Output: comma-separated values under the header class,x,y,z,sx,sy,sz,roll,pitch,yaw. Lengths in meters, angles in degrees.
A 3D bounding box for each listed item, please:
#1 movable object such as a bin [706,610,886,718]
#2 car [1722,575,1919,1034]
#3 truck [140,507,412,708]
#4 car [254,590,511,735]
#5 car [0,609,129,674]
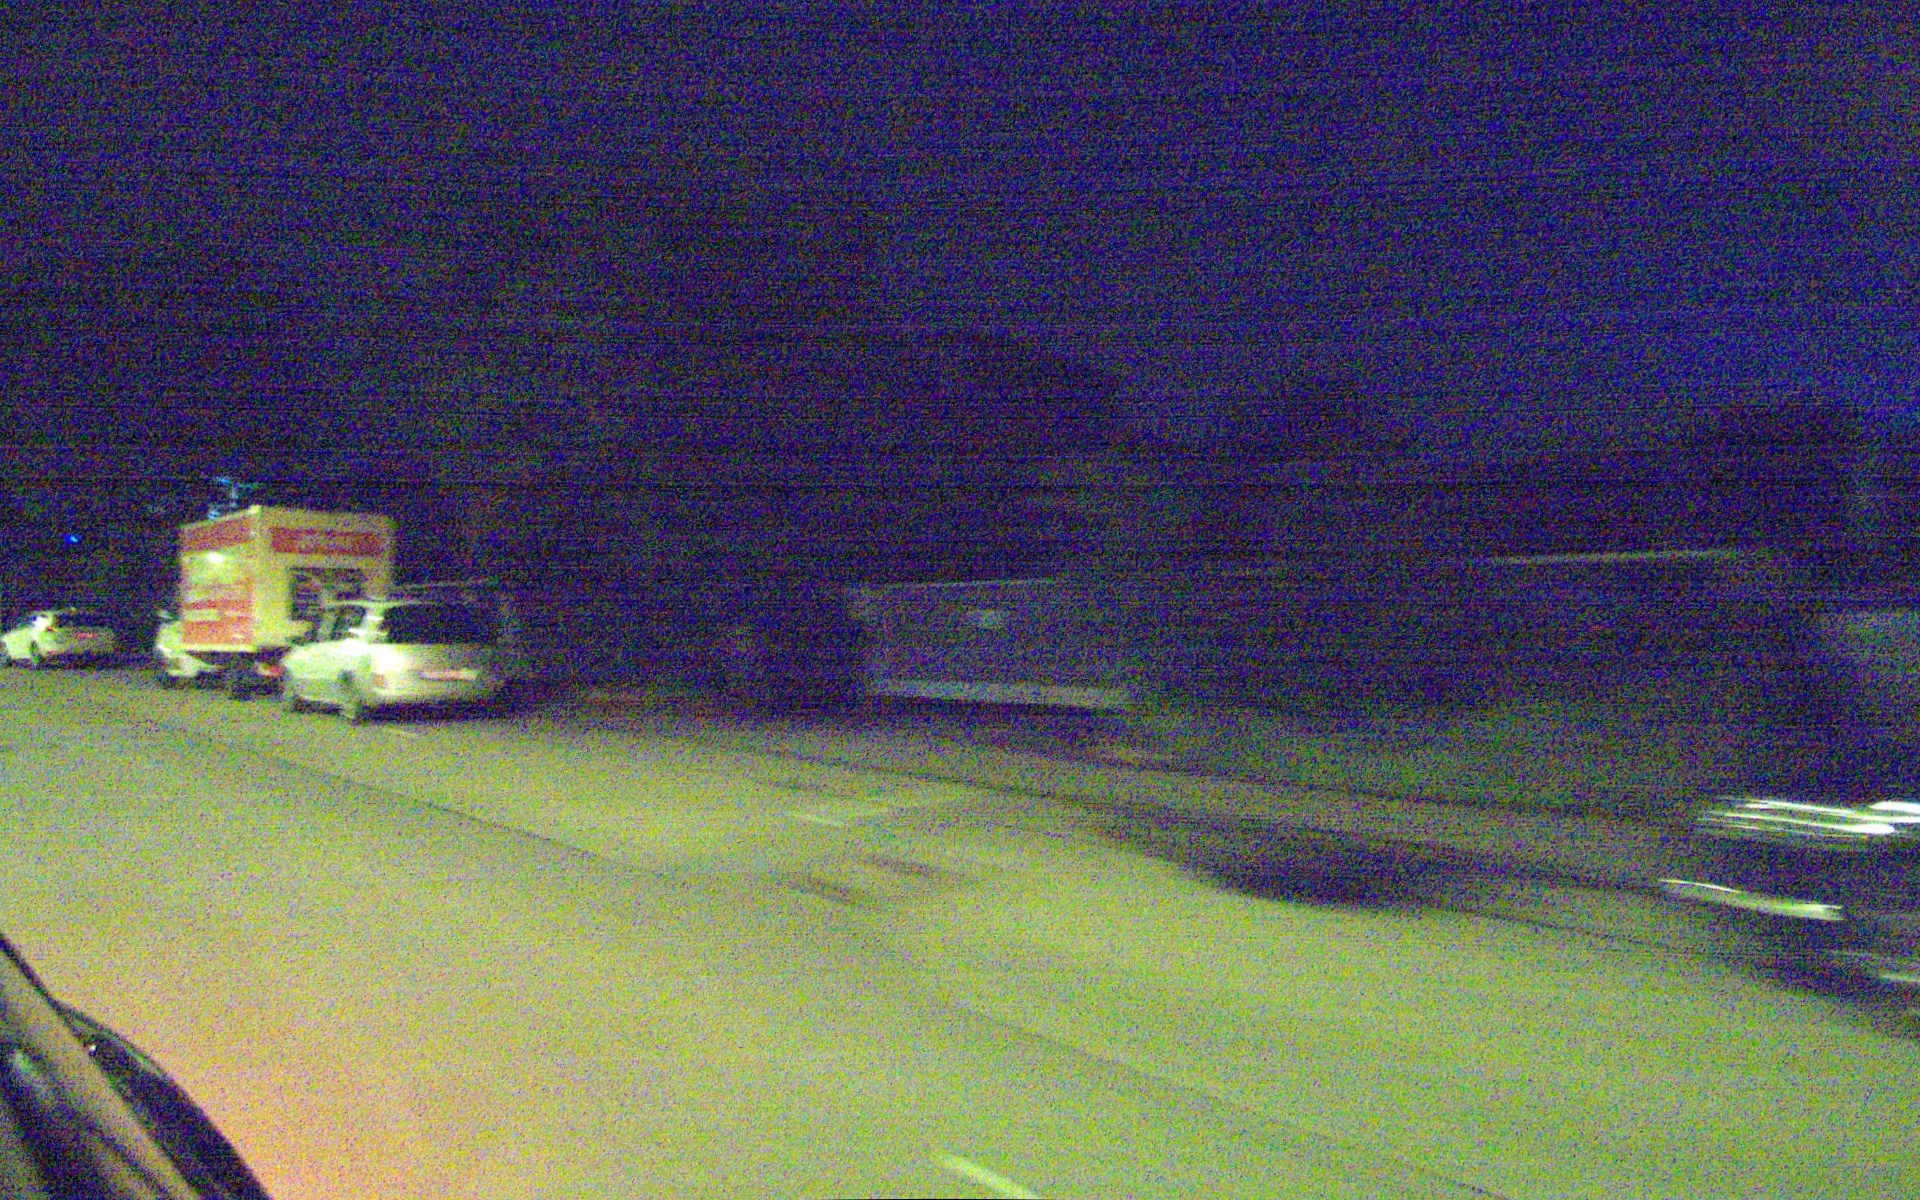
class,x,y,z,sx,sy,sz,roll,pitch,yaw
movable object such as a bin,-2.465,0.916,15.381,2.308,1.506,1.417,1,-2,-42
car,4.999,0.684,2.897,4.323,1.538,1.735,-1,-3,44
truck,-13.669,0.194,19.955,7.306,3.305,2.518,-1,-2,40
car,-8.742,0.851,15.120,4.835,1.830,1.810,-1,-2,41
car,-26.649,1.181,29.782,4.676,1.785,1.978,-1,-2,32
